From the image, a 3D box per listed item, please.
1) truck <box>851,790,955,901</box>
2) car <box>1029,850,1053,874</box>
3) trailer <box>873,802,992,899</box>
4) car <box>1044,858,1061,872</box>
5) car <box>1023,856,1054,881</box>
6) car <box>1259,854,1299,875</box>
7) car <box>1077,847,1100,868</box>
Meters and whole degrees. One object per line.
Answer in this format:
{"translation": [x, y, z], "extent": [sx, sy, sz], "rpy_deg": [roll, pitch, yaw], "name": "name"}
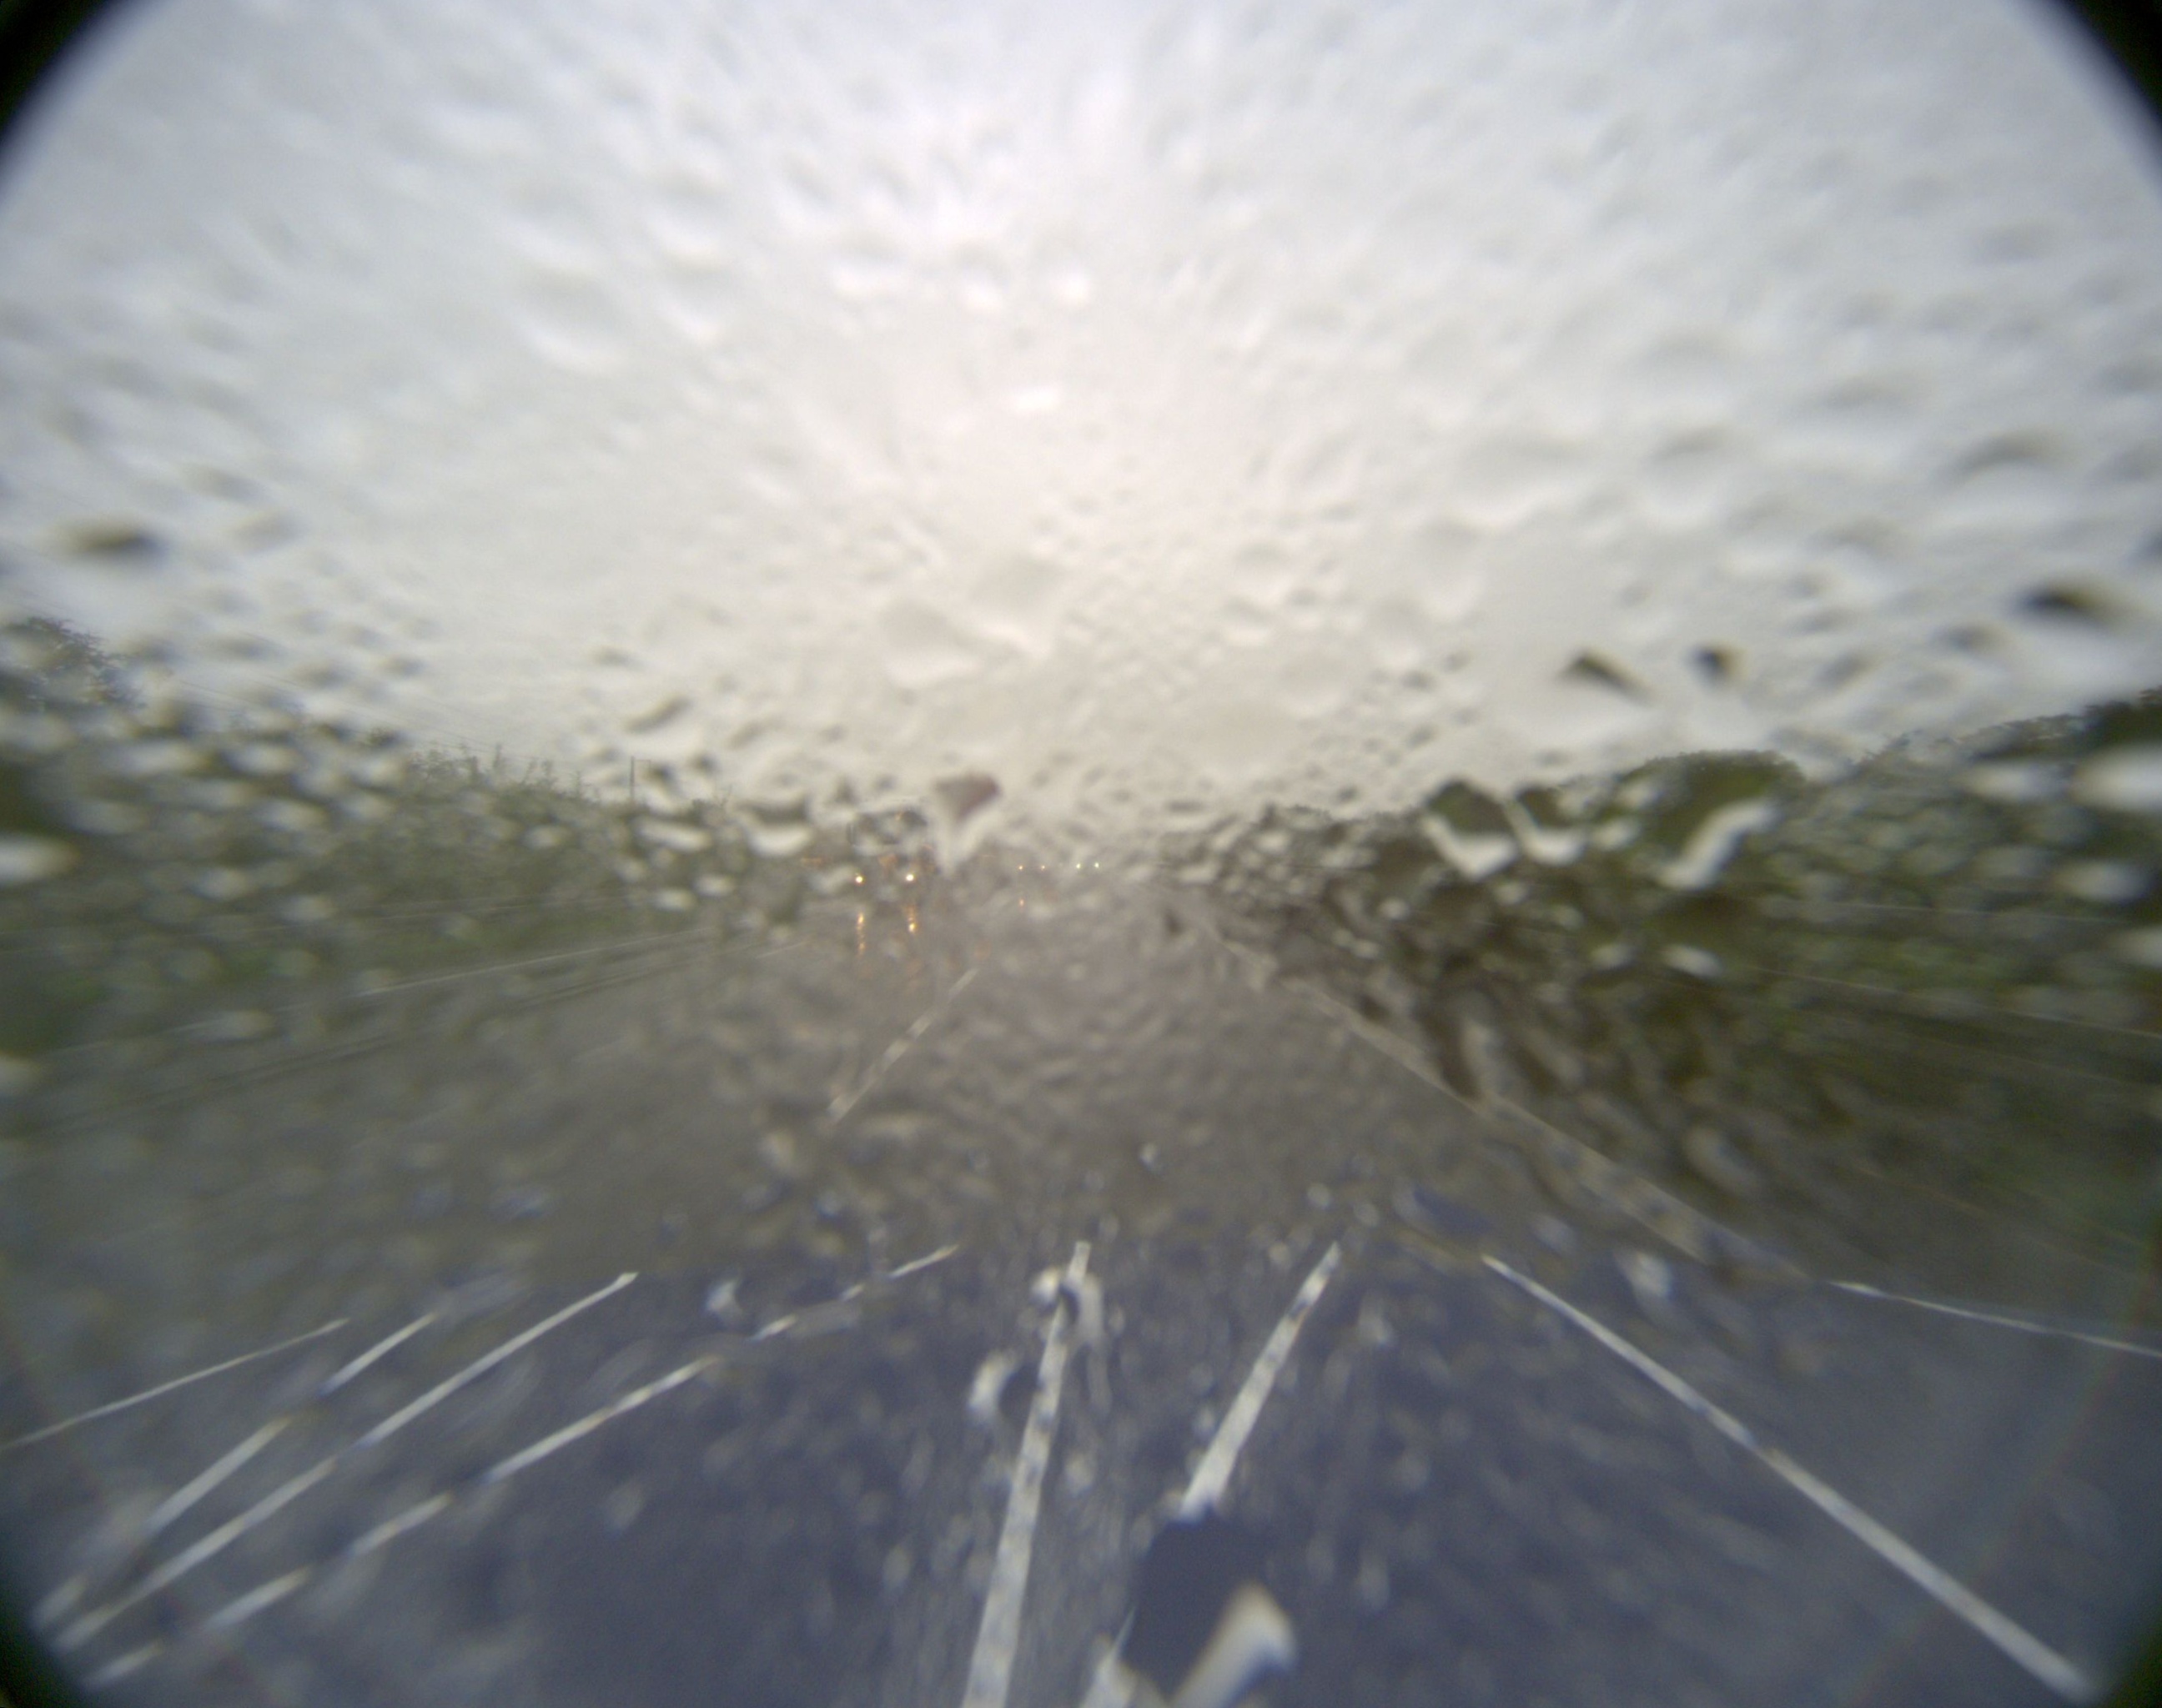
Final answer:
{"translation": [-6.888, -0.303, 30.229], "extent": [2.457, 3.866, 6.199], "rpy_deg": [-2, 0, 1], "name": "truck"}
{"translation": [-2.822, 0.567, 53.926], "extent": [1.517, 1.606, 3.186], "rpy_deg": [-2, 0, 0], "name": "car"}
{"translation": [-6.803, -0.131, 38.169], "extent": [2.486, 3.743, 16.544], "rpy_deg": [-2, 0, 0], "name": "trailer"}
{"translation": [-3.419, 1.326, 92.484], "extent": [1.845, 1.671, 4.000], "rpy_deg": [-2, 0, 0], "name": "car"}
{"translation": [-2.658, 0.888, 48.298], "extent": [1.663, 1.491, 3.836], "rpy_deg": [-2, 0, 1], "name": "car"}
{"translation": [15.611, 0.780, 60.174], "extent": [1.932, 1.503, 4.935], "rpy_deg": [-2, 0, 0], "name": "car"}
{"translation": [0.642, 0.303, 65.028], "extent": [1.845, 1.671, 4.000], "rpy_deg": [-2, 0, 0], "name": "car"}
